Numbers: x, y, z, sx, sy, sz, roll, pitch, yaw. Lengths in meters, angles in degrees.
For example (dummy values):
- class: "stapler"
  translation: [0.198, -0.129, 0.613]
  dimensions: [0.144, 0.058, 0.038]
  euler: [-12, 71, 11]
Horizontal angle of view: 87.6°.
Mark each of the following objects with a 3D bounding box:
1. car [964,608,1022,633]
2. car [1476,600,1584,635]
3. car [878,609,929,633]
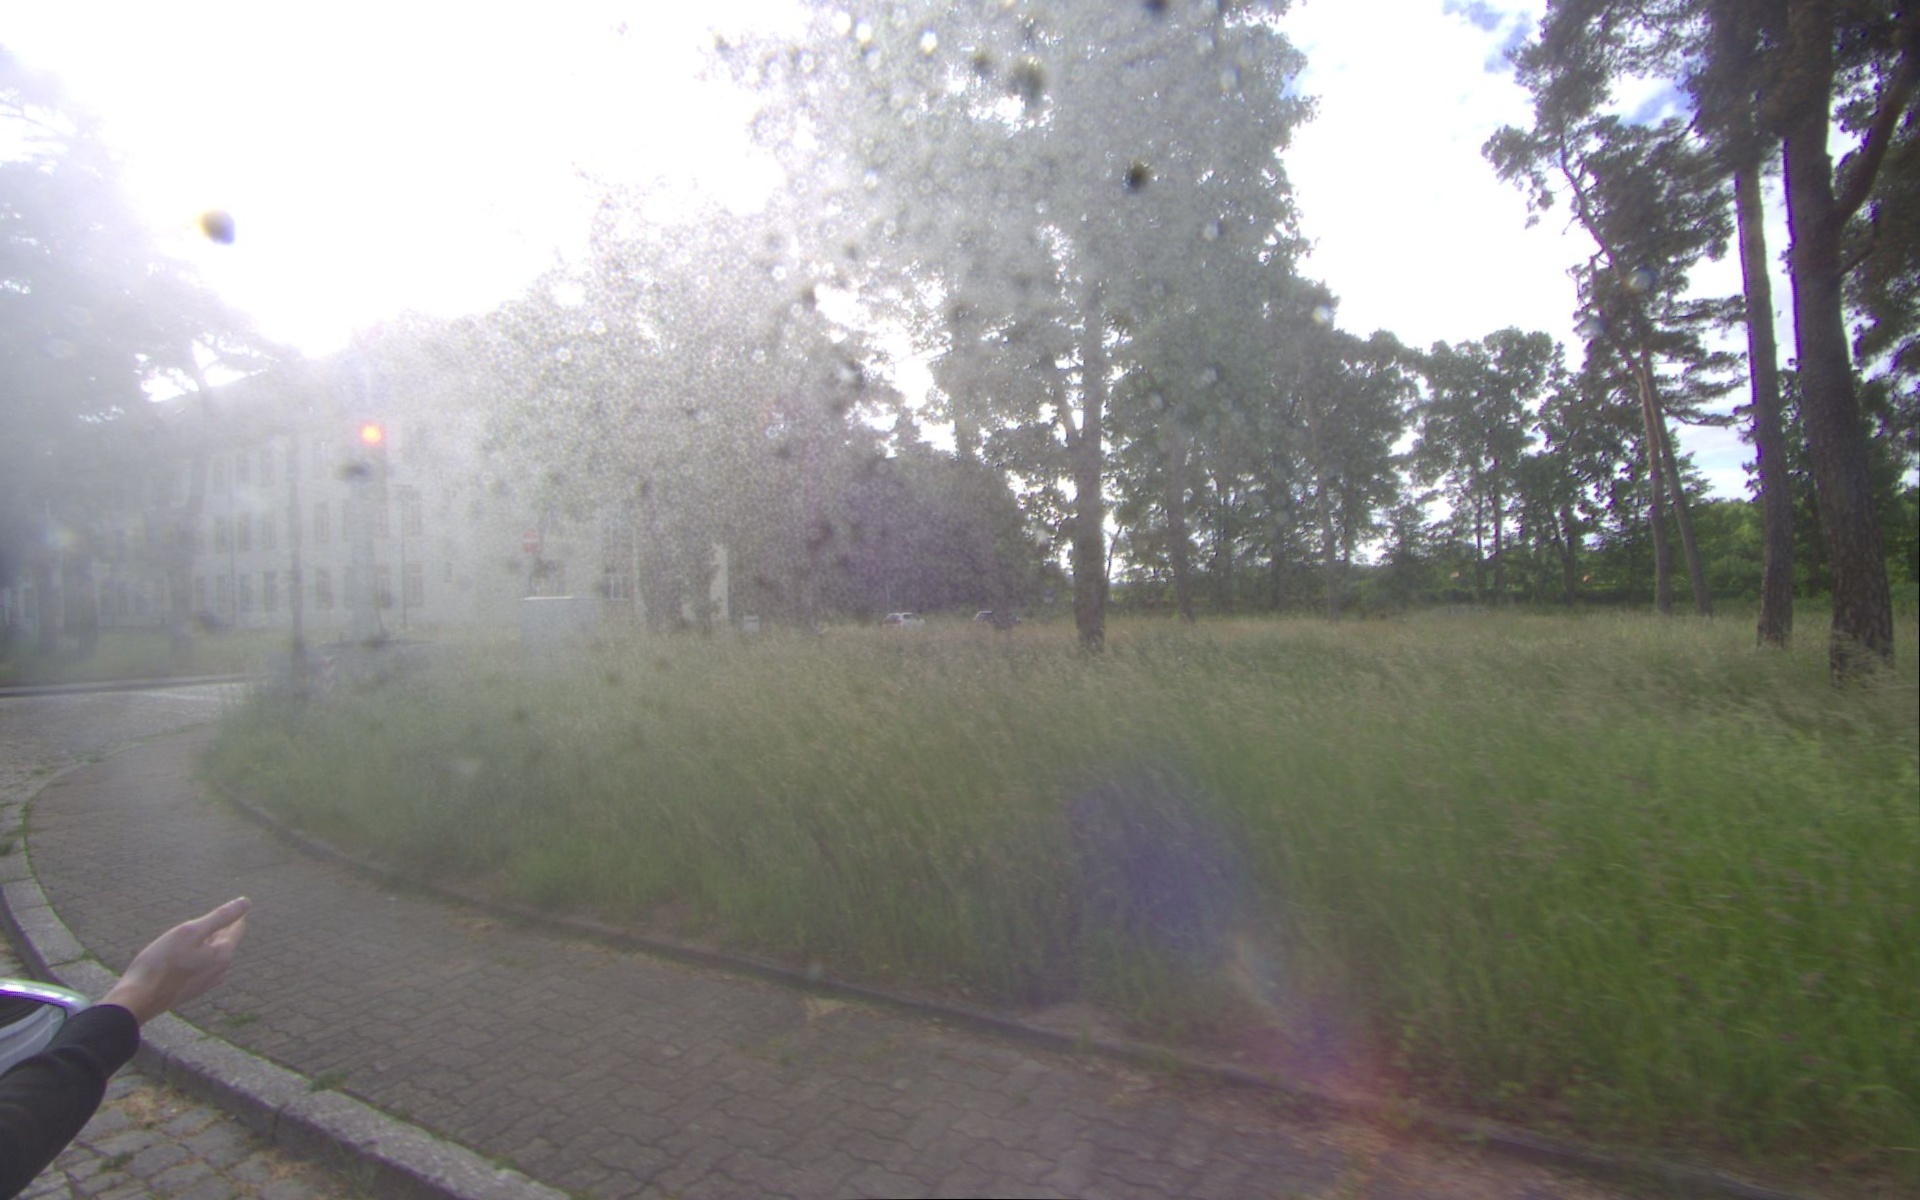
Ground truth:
- class: "car"
  translation: [2.166, 1.287, 64.138]
  dimensions: [1.972, 1.553, 3.978]
  euler: [-1, 0, 32]
- class: "car"
  translation: [27.102, 0.839, 47.748]
  dimensions: [4.384, 1.607, 1.991]
  euler: [-1, 0, 30]
- class: "car"
  translation: [-3.851, 1.438, 68.736]
  dimensions: [1.748, 1.553, 3.674]
  euler: [-1, 0, 32]
